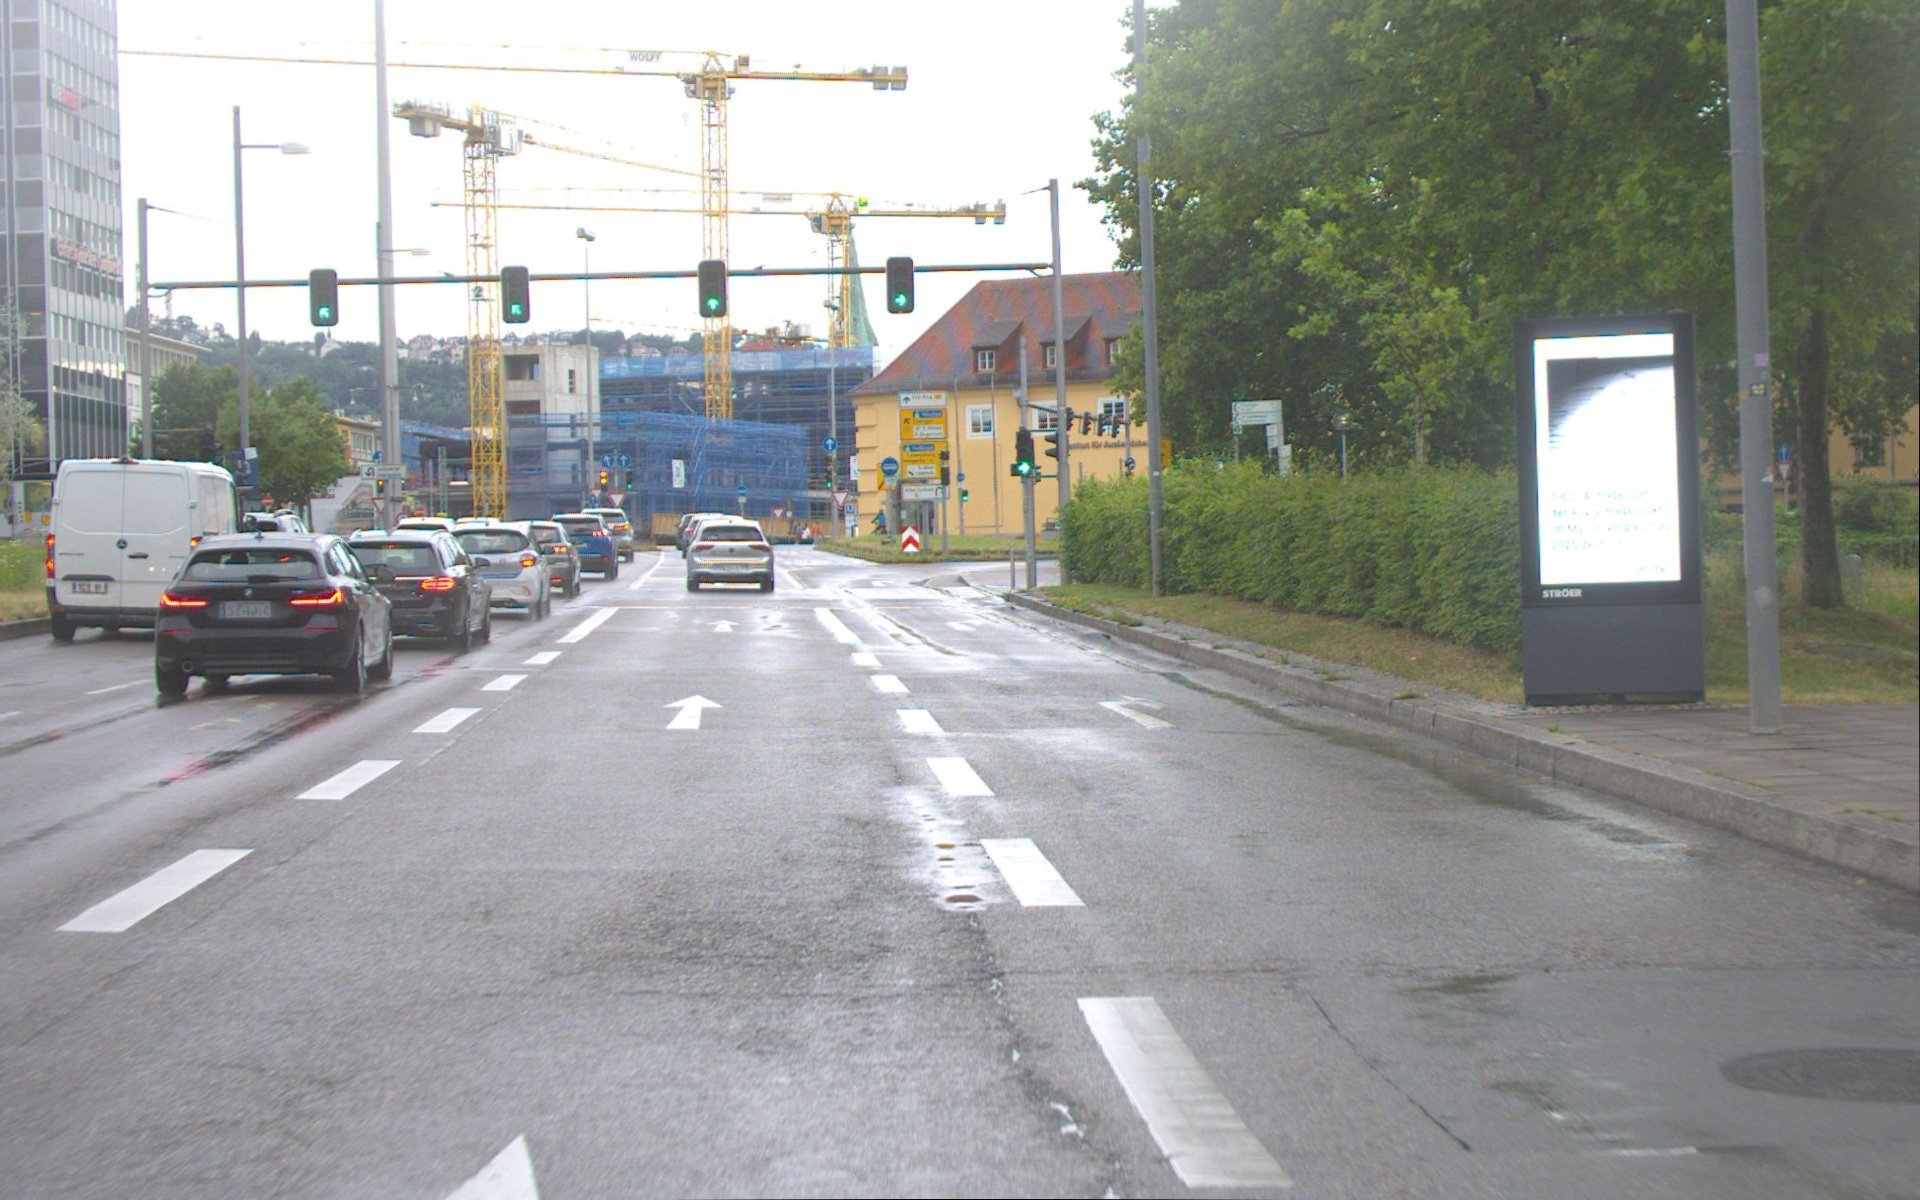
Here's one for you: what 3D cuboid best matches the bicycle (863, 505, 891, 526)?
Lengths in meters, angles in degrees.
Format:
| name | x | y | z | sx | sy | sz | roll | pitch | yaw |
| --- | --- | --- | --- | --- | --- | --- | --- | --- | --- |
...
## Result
| name | x | y | z | sx | sy | sz | roll | pitch | yaw |
| --- | --- | --- | --- | --- | --- | --- | --- | --- | --- |
| bicycle | -4.191 | -4.252 | 173.353 | 0.880 | 1.006 | 1.993 | 0 | 0 | -18 |

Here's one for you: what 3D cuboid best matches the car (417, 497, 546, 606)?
| name | x | y | z | sx | sy | sz | roll | pitch | yaw |
| --- | --- | --- | --- | --- | --- | --- | --- | --- | --- |
| car | -7.464 | -0.728 | 53.836 | 1.880 | 1.647 | 3.458 | 0 | 0 | -6 |

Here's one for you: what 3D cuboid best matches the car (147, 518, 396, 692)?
| name | x | y | z | sx | sy | sz | roll | pitch | yaw |
| --- | --- | --- | --- | --- | --- | --- | --- | --- | --- |
| car | -6.287 | -0.009 | 31.802 | 1.753 | 1.466 | 4.223 | 0 | 2 | -4 |

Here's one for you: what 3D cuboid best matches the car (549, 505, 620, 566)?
| name | x | y | z | sx | sy | sz | roll | pitch | yaw |
| --- | --- | --- | --- | --- | --- | --- | --- | --- | --- |
| car | -8.714 | -1.482 | 79.887 | 1.493 | 1.365 | 3.033 | 0 | 0 | -3 |

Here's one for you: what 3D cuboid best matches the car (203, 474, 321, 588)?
| name | x | y | z | sx | sy | sz | roll | pitch | yaw |
| --- | --- | --- | --- | --- | --- | --- | --- | --- | --- |
| car | -10.823 | -1.043 | 53.437 | 1.464 | 1.700 | 3.142 | 0 | 0 | -5 |

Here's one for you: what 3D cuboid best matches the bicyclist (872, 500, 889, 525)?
| name | x | y | z | sx | sy | sz | roll | pitch | yaw |
| --- | --- | --- | --- | --- | --- | --- | --- | --- | --- |
| bicyclist | -4.023 | -4.403 | 173.110 | 0.703 | 1.271 | 0.635 | 0 | 0 | -19 |

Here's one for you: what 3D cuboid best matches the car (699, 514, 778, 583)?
| name | x | y | z | sx | sy | sz | roll | pitch | yaw |
| --- | --- | --- | --- | --- | --- | --- | --- | --- | --- |
| car | -4.470 | -1.037 | 69.697 | 1.444 | 1.354 | 2.412 | 0 | 0 | 0 |

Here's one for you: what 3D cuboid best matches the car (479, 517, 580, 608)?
| name | x | y | z | sx | sy | sz | roll | pitch | yaw |
| --- | --- | --- | --- | --- | --- | --- | --- | --- | --- |
| car | -8.341 | -0.700 | 66.855 | 1.716 | 1.721 | 3.495 | 0 | 0 | -3 |

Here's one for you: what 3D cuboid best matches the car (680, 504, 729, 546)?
| name | x | y | z | sx | sy | sz | roll | pitch | yaw |
| --- | --- | --- | --- | --- | --- | --- | --- | --- | --- |
| car | -6.459 | -1.881 | 86.958 | 1.076 | 0.987 | 1.971 | 0 | -1 | 0 |

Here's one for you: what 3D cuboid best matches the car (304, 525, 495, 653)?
| name | x | y | z | sx | sy | sz | roll | pitch | yaw |
| --- | --- | --- | --- | --- | --- | --- | --- | --- | --- |
| car | -6.747 | -0.125 | 41.685 | 1.830 | 1.489 | 3.399 | 0 | 0 | -1 |

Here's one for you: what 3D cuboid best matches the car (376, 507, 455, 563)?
| name | x | y | z | sx | sy | sz | roll | pitch | yaw |
| --- | --- | --- | --- | --- | --- | --- | --- | --- | --- |
| car | -12.637 | -1.506 | 79.885 | 1.551 | 1.256 | 2.581 | 0 | 0 | -3 |

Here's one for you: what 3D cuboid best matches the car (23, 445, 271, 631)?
| name | x | y | z | sx | sy | sz | roll | pitch | yaw |
| --- | --- | --- | --- | --- | --- | --- | --- | --- | --- |
| car | -10.624 | -0.771 | 45.324 | 2.292 | 2.306 | 5.006 | 0 | 0 | -3 |
